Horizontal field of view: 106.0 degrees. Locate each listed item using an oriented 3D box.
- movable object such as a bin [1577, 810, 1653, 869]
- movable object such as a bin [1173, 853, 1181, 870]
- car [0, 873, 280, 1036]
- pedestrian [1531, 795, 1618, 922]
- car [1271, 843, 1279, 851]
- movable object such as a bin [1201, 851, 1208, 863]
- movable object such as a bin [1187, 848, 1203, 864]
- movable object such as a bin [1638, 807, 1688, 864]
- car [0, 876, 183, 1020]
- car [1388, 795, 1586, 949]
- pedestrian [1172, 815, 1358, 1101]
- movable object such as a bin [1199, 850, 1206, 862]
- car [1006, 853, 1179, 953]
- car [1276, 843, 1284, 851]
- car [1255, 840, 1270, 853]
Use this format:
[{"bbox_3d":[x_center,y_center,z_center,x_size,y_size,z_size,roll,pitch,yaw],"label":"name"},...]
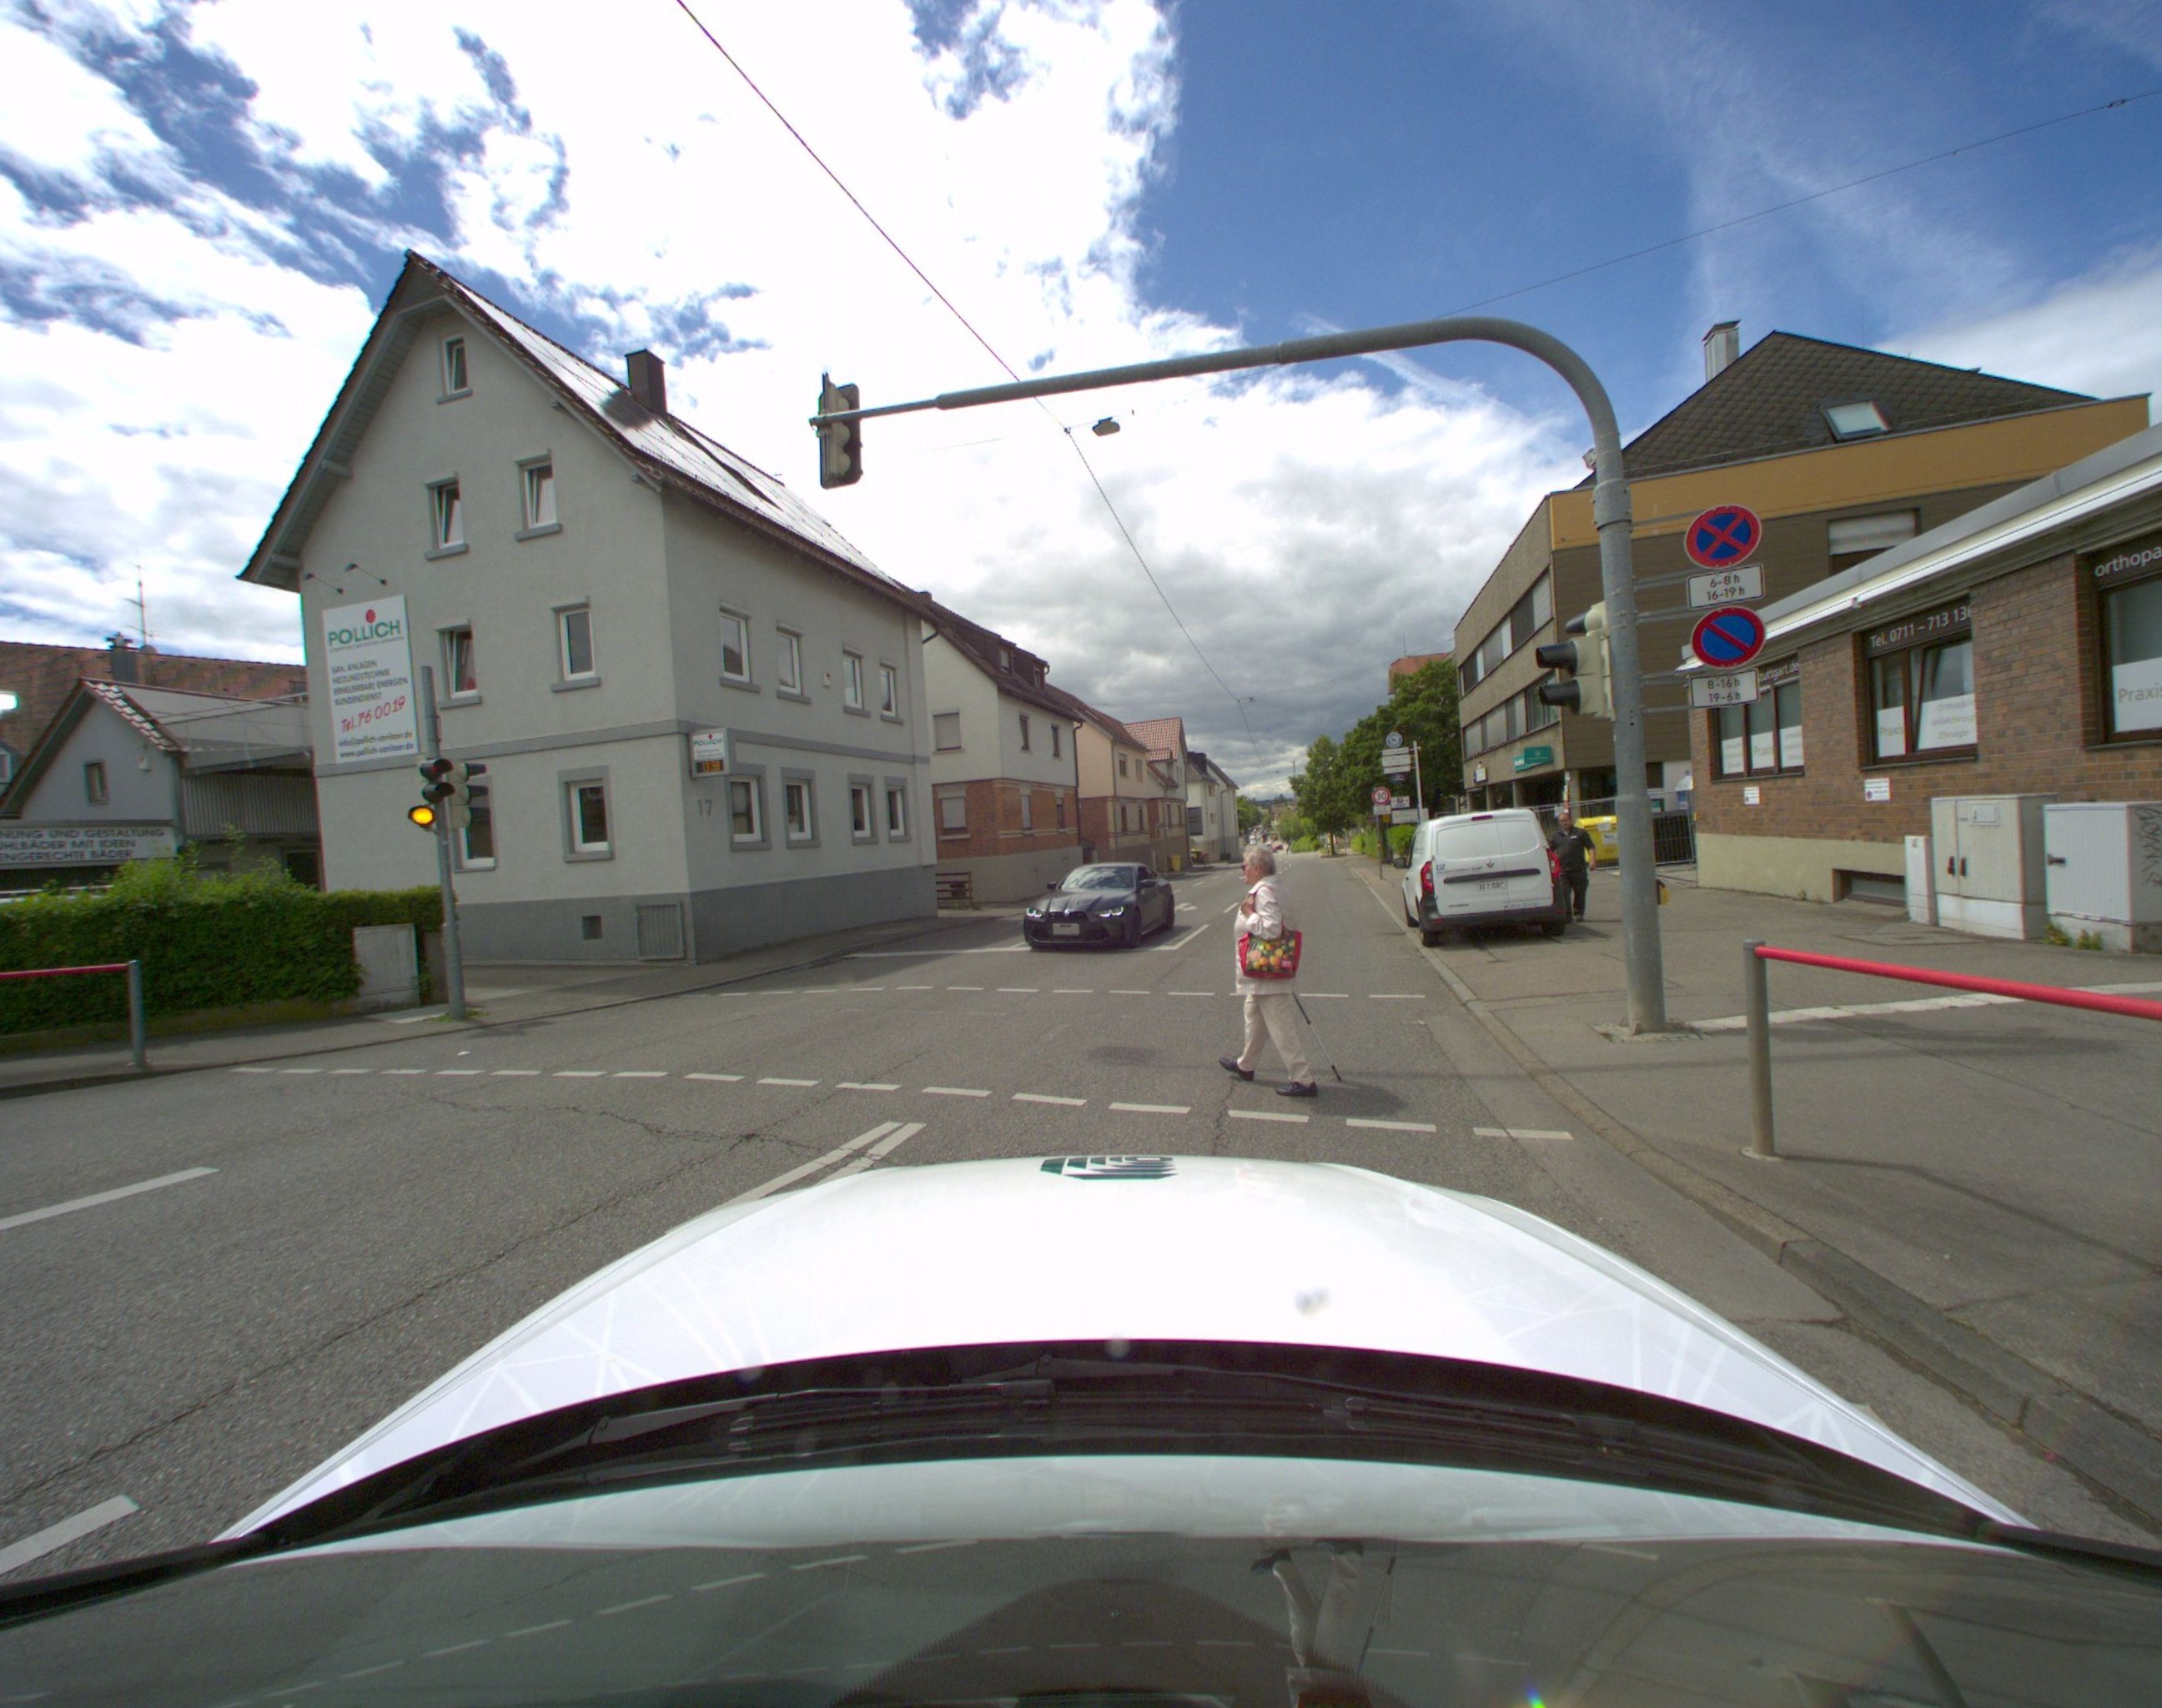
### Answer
[{"bbox_3d":[14.686,-0.403,22.436,1.470,1.492,1.082,-4,2,19],"label":"movable object such as a bin"},{"bbox_3d":[6.648,0.508,56.457,0.428,1.128,0.300,-5,0,15],"label":"movable object such as a bin"},{"bbox_3d":[-14.483,1.398,11.455,1.978,1.947,4.019,-5,0,17],"label":"car"},{"bbox_3d":[7.383,0.067,12.219,0.836,1.803,0.654,-5,-1,16],"label":"pedestrian"},{"bbox_3d":[52.506,-1.866,220.796,1.980,2.013,4.014,-4,-1,12],"label":"car"},{"bbox_3d":[11.080,0.272,73.084,0.527,1.030,0.457,-4,0,15],"label":"movable object such as a bin"},{"bbox_3d":[10.089,0.195,72.255,1.273,1.310,0.819,-4,0,11],"label":"movable object such as a bin"},{"bbox_3d":[15.797,-0.513,22.125,0.773,1.439,1.023,-4,2,20],"label":"movable object such as a bin"},{"bbox_3d":[-16.858,1.495,12.198,1.977,2.013,4.019,-4,0,18],"label":"car"},{"bbox_3d":[6.040,0.239,12.721,1.896,1.794,4.511,-7,-2,17],"label":"car"},{"bbox_3d":[1.202,0.609,5.237,0.862,1.637,0.842,-4,0,28],"label":"pedestrian"},{"bbox_3d":[10.976,0.163,73.457,0.527,1.030,0.457,-4,0,15],"label":"movable object such as a bin"},{"bbox_3d":[0.421,0.786,15.104,1.978,1.457,4.637,-2,1,16],"label":"car"},{"bbox_3d":[57.734,-1.988,235.839,1.980,2.013,4.014,-4,-1,12],"label":"car"},{"bbox_3d":[30.285,-1.248,136.152,1.983,2.013,4.009,-3,0,7],"label":"car"}]
